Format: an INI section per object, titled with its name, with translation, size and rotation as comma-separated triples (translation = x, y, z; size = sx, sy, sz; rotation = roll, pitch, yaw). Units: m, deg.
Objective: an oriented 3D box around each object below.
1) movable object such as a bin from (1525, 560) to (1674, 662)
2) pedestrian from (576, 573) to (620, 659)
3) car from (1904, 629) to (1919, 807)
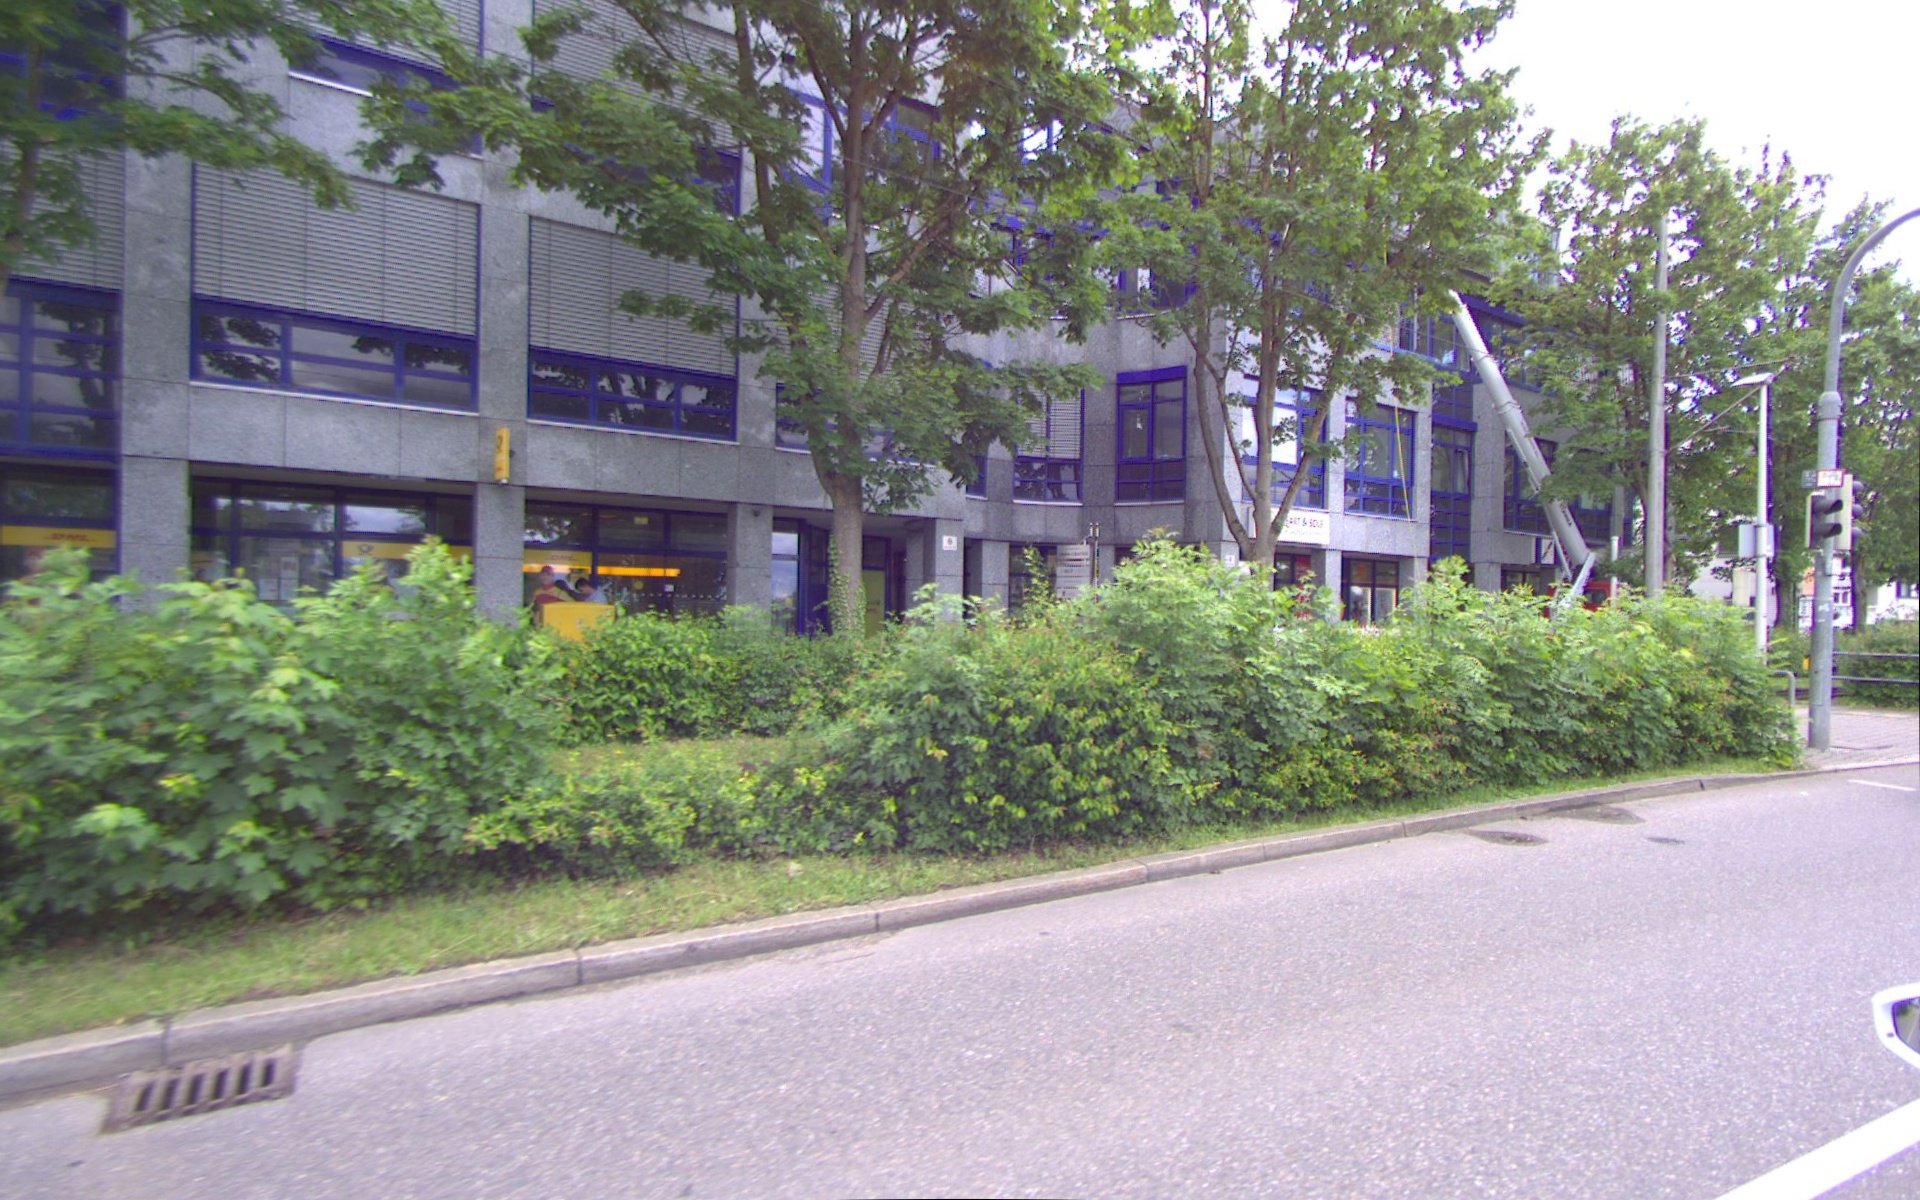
[movable object such as a bin]
translation = 17.660, 0.276, 27.707
size = 4.084, 2.566, 1.893
rotation = 1, 3, -34
[pedestrian]
translation = -5.844, 0.251, 16.207
size = 0.553, 1.352, 0.362
rotation = 0, 4, -38
[car]
translation = 10.325, 1.006, 8.509
size = 4.642, 1.455, 1.840
rotation = 1, -1, -25
